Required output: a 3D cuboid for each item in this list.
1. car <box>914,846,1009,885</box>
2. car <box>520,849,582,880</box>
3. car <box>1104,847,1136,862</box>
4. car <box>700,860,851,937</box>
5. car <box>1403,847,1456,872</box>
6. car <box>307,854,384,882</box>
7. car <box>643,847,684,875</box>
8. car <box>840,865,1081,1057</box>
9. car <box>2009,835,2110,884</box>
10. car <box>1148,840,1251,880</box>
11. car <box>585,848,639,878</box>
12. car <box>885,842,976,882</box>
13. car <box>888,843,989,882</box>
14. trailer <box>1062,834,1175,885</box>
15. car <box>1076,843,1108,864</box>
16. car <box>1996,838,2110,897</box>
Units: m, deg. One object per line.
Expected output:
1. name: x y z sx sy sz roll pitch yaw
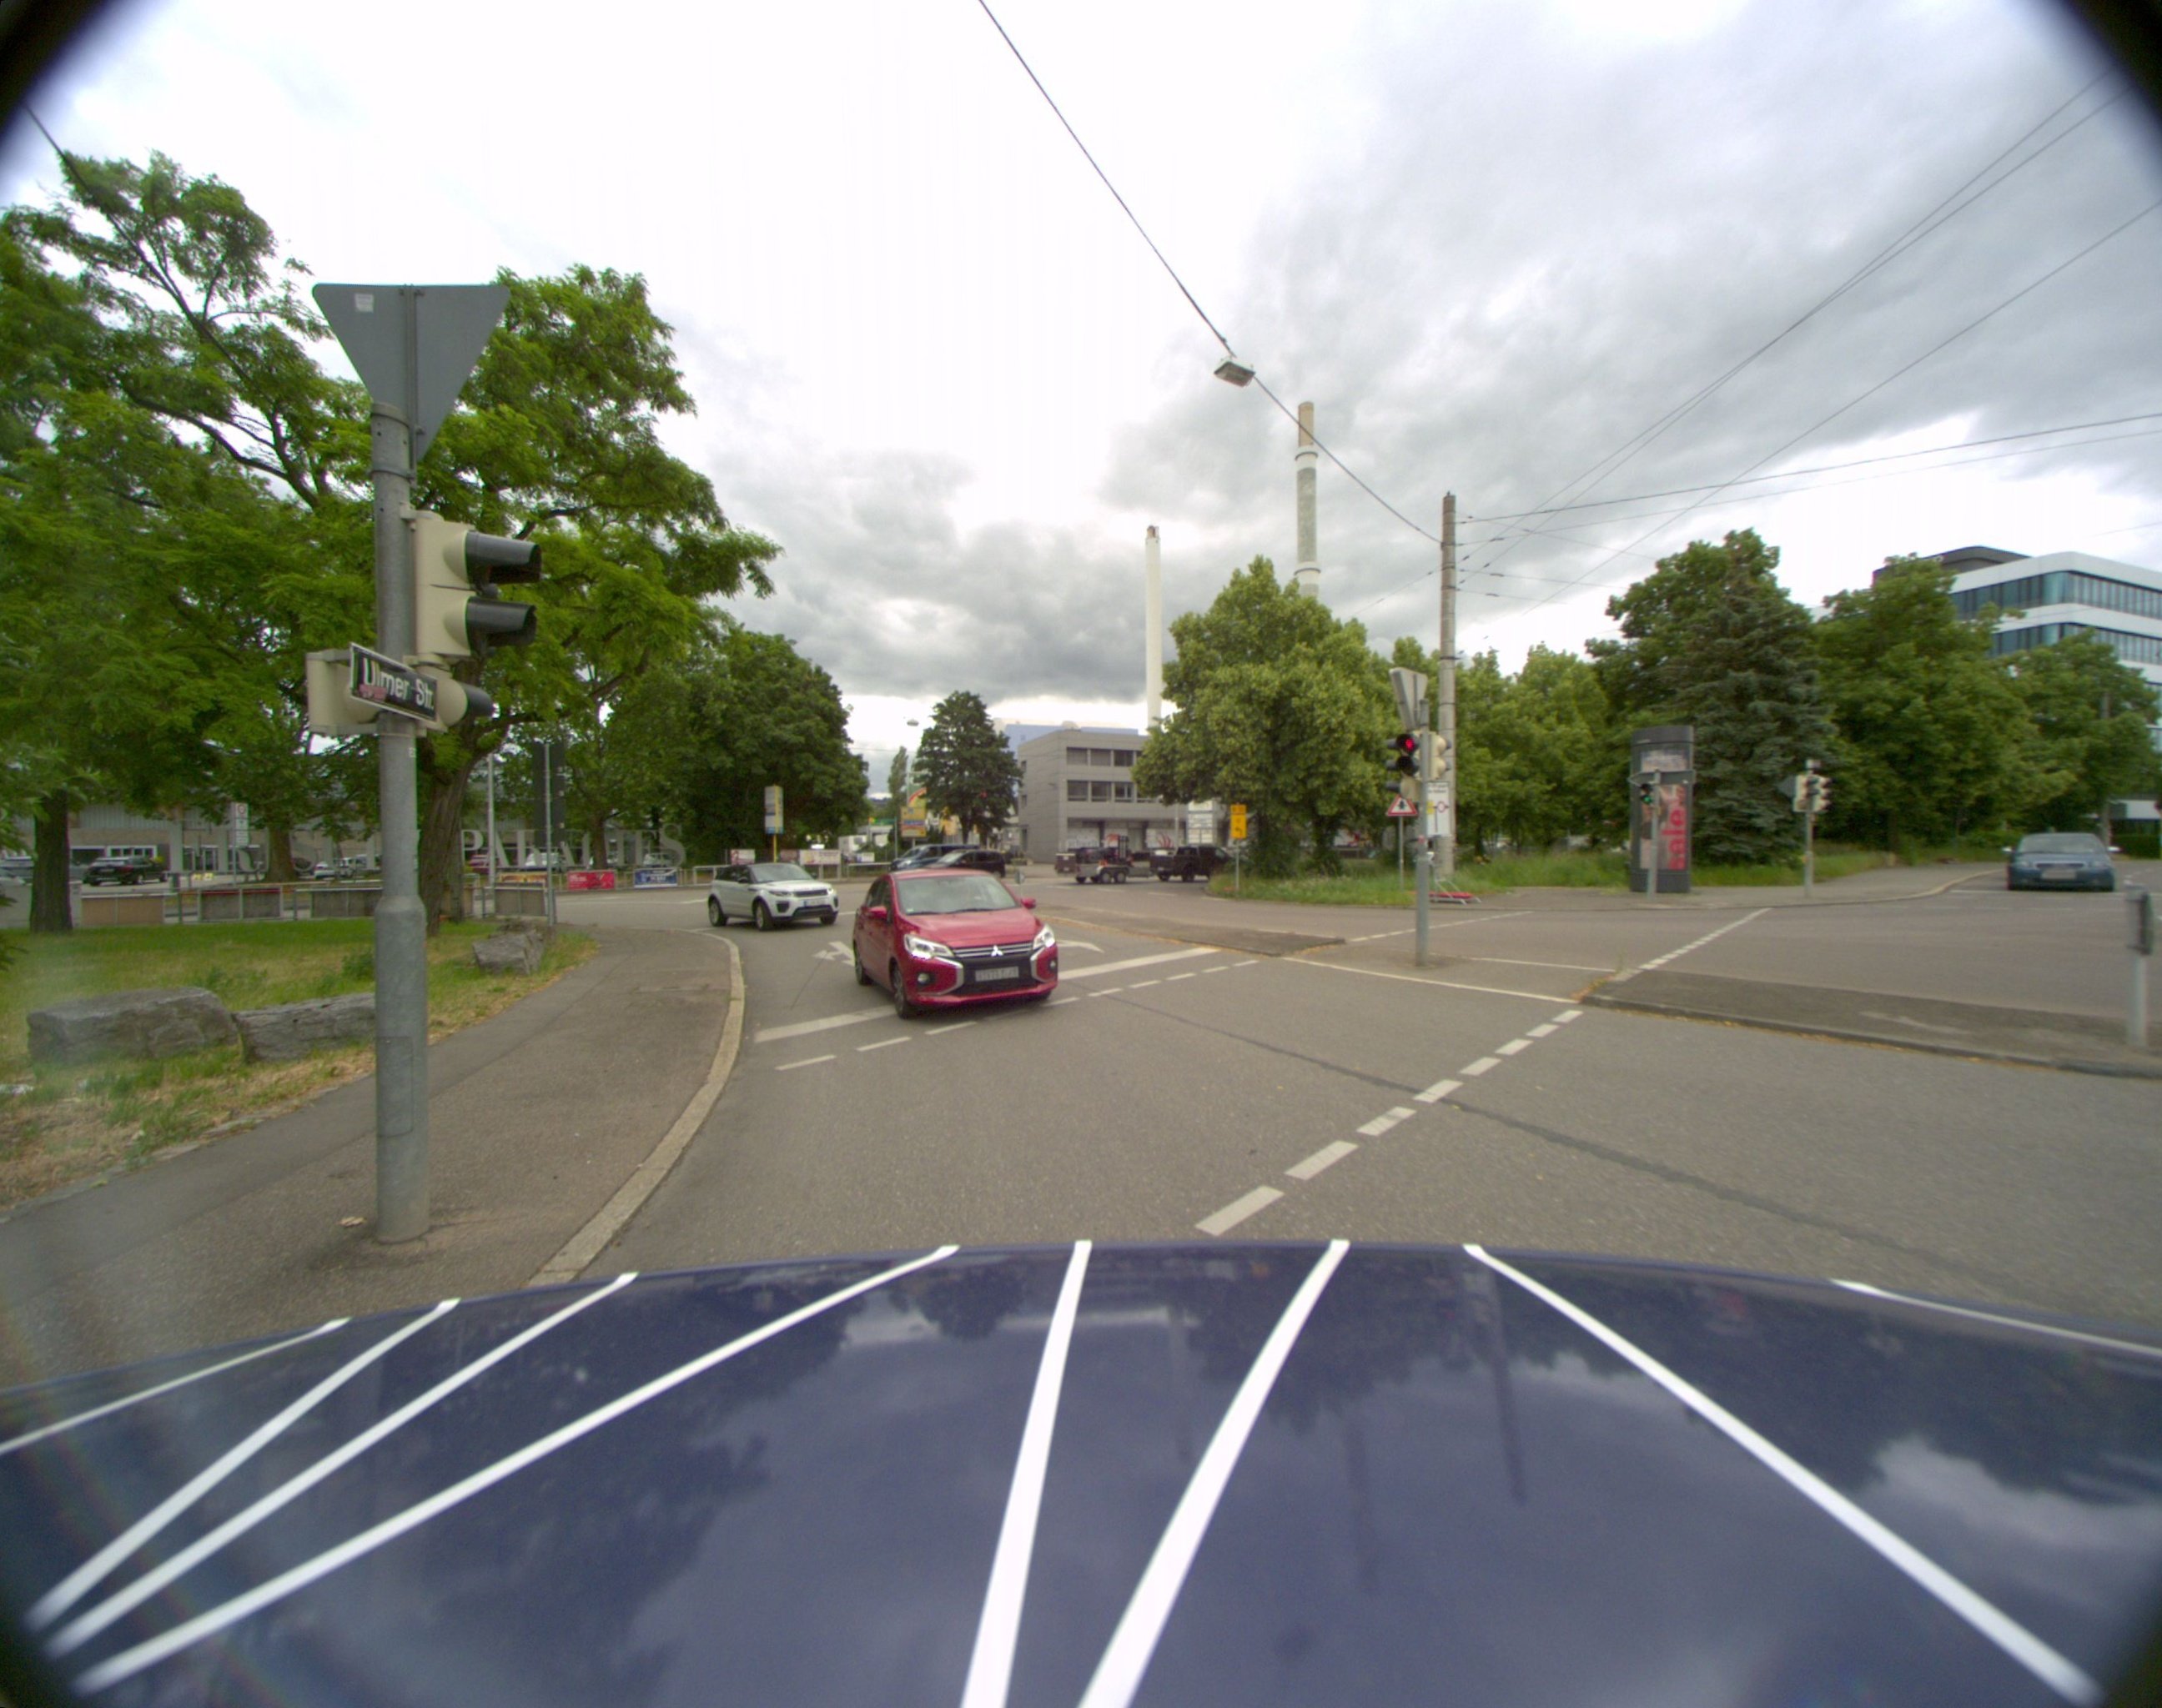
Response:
1. car: -5.784 0.557 36.974 4.239 1.761 1.828 1 0 -40
2. car: -31.579 0.582 45.431 2.002 1.450 4.689 -5 4 -22
3. car: 3.650 0.060 71.986 1.779 1.172 3.565 -4 4 -19
4. car: -7.835 1.018 19.313 4.101 1.561 1.920 0 5 43
5. car: 29.379 0.421 63.977 4.771 1.654 1.994 -6 5 -37
6. car: -47.733 0.843 49.425 1.940 1.423 5.238 -5 4 -26
7. car: -26.377 0.373 48.122 2.002 1.450 4.688 -5 4 -27
8. car: -1.609 0.992 8.878 1.770 1.521 3.731 -2 3 -25
9. car: 31.368 0.130 24.334 4.172 1.418 1.745 -1 1 -35
10. car: 6.459 0.247 40.997 5.882 1.968 1.945 -1 3 -37
11. car: -28.620 0.513 46.511 2.002 1.450 4.689 -5 4 -22
12. car: -7.882 0.365 39.881 4.245 2.002 1.994 -1 2 -32
13. car: -7.453 0.410 39.942 4.811 1.934 1.828 -1 1 -32
14. trailer: 1.923 0.221 37.606 5.398 2.374 2.145 -1 1 -36
15. car: 0.980 -0.079 70.527 1.779 1.670 3.565 -4 4 -19
16. car: 25.606 0.303 20.022 3.710 1.384 1.745 -1 1 -37
